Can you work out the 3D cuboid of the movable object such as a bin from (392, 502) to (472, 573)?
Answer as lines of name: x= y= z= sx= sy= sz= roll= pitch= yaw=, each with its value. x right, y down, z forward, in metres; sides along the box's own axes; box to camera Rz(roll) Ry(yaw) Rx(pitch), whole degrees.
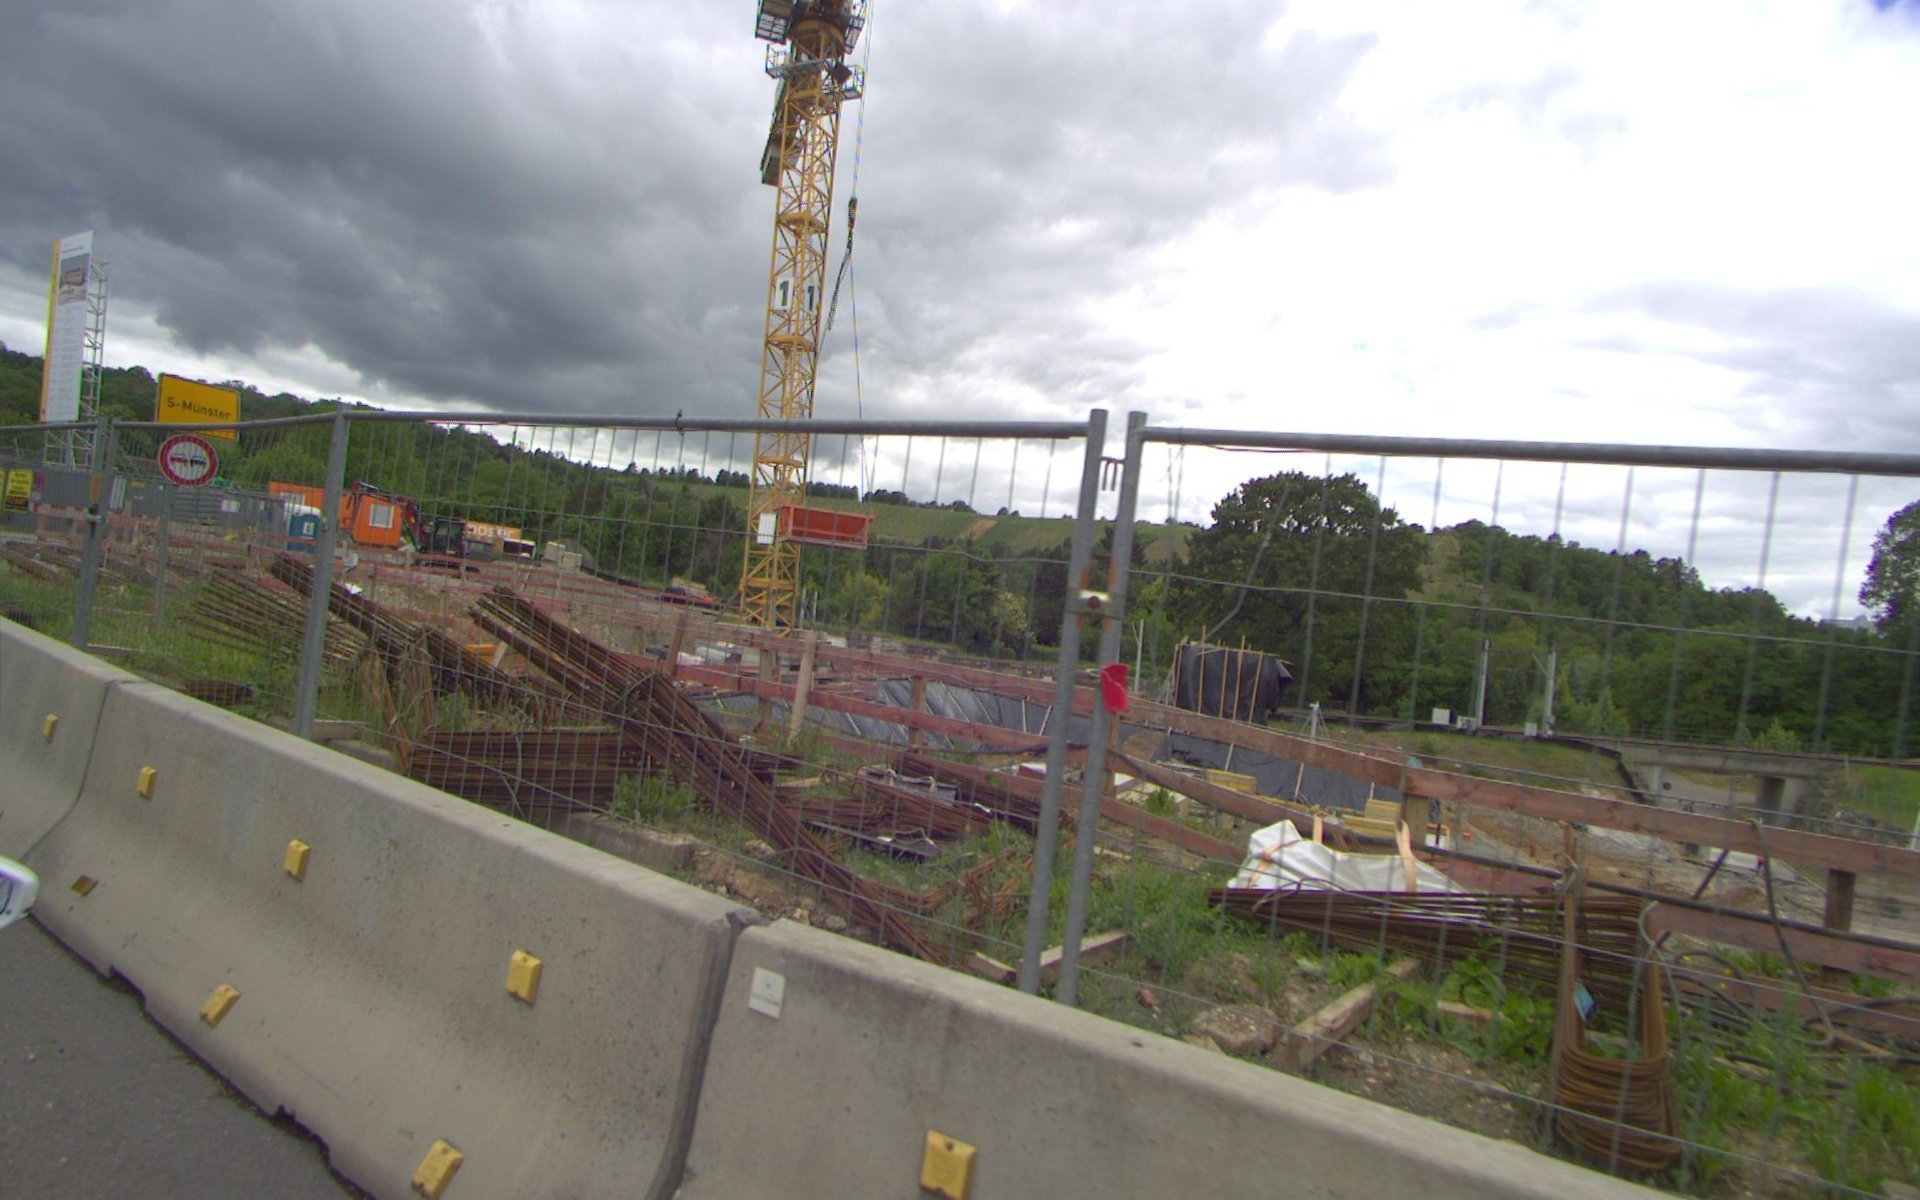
movable object such as a bin: x=-26.035 y=-3.064 z=49.669 sx=1.813 sy=3.116 sz=2.789 roll=6 pitch=1 yaw=37

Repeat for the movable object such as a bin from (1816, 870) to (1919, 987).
movable object such as a bin: x=31.434 y=11.117 z=34.077 sx=2.999 sy=2.780 sz=4.281 roll=6 pitch=-3 yaw=34

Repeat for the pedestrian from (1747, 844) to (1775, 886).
pedestrian: x=43.682 y=14.445 z=54.844 sx=0.809 sy=2.035 sz=0.684 roll=8 pitch=-2 yaw=15
